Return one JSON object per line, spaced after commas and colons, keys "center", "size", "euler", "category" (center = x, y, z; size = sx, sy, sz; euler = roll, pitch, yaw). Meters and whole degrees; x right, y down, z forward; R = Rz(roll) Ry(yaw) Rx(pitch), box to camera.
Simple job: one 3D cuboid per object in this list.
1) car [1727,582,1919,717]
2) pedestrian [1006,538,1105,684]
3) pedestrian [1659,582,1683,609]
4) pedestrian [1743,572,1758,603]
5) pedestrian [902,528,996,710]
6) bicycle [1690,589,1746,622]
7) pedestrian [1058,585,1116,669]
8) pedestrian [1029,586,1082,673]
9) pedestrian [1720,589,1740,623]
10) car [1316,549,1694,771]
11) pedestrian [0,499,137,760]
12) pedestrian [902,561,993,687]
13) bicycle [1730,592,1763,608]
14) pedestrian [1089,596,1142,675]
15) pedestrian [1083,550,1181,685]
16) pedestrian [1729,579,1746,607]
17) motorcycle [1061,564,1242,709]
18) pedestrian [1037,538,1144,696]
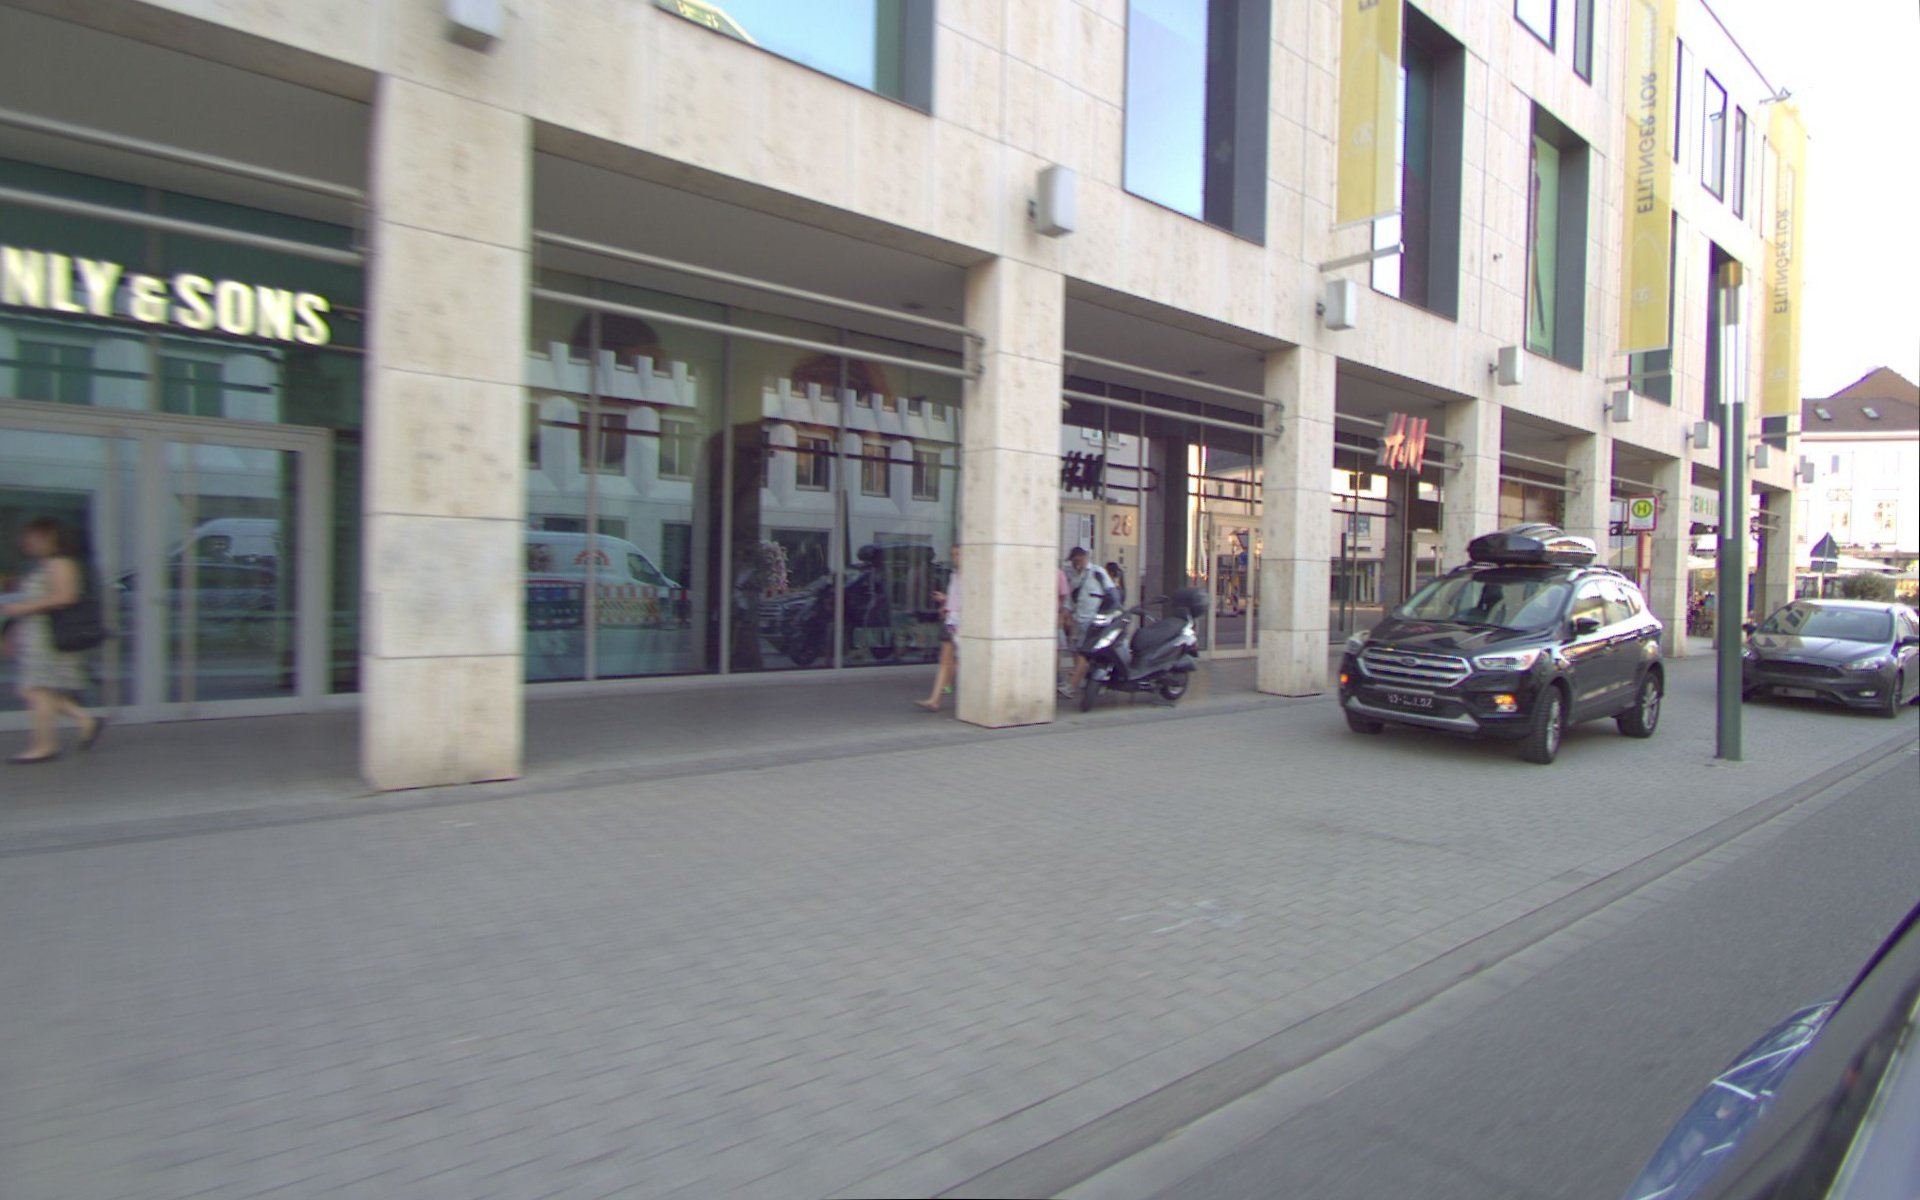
{"center": [12.557, 0.570, 14.248], "size": [4.118, 1.508, 1.800], "euler": [-1, 5, -39], "category": "car"}
{"center": [1.171, 0.122, 12.371], "size": [0.861, 1.702, 0.766], "euler": [2, 0, -40], "category": "pedestrian"}
{"center": [38.508, -0.260, 54.813], "size": [0.679, 1.465, 0.725], "euler": [1, 1, -15], "category": "pedestrian"}
{"center": [47.536, -0.743, 60.861], "size": [0.705, 1.841, 0.509], "euler": [0, 1, -38], "category": "pedestrian"}
{"center": [-0.109, 0.165, 9.998], "size": [0.684, 1.719, 0.591], "euler": [0, 1, -42], "category": "pedestrian"}
{"center": [28.629, 0.219, 38.210], "size": [1.866, 1.142, 0.609], "euler": [3, 1, -14], "category": "bicycle"}
{"center": [1.736, 0.365, 13.817], "size": [0.591, 1.111, 0.488], "euler": [2, 0, -40], "category": "pedestrian"}
{"center": [1.255, 0.379, 13.301], "size": [0.516, 1.111, 0.420], "euler": [2, 0, -40], "category": "pedestrian"}
{"center": [45.984, 0.358, 60.418], "size": [0.615, 1.952, 0.647], "euler": [1, 1, -15], "category": "pedestrian"}
{"center": [5.408, 0.424, 9.864], "size": [3.985, 1.657, 1.773], "euler": [-1, 5, -39], "category": "car"}
{"center": [-5.851, 0.176, 6.552], "size": [0.761, 1.587, 0.635], "euler": [2, 0, -40], "category": "pedestrian"}
{"center": [-0.146, 0.257, 11.472], "size": [0.761, 1.362, 0.635], "euler": [2, 0, -40], "category": "pedestrian"}
{"center": [47.446, -0.013, 61.062], "size": [1.644, 0.945, 0.474], "euler": [1, 1, -2], "category": "bicycle"}
{"center": [2.050, 0.456, 13.310], "size": [0.516, 0.998, 0.420], "euler": [2, 0, -40], "category": "pedestrian"}
{"center": [2.109, 0.202, 12.415], "size": [0.861, 1.587, 0.766], "euler": [2, 0, -40], "category": "pedestrian"}
{"center": [47.636, -0.447, 62.024], "size": [0.720, 1.697, 0.620], "euler": [0, 1, -38], "category": "pedestrian"}
{"center": [2.100, 0.350, 10.936], "size": [2.096, 1.434, 0.694], "euler": [0, 2, -38], "category": "motorcycle"}
{"center": [1.485, 0.181, 11.526], "size": [0.861, 1.702, 0.766], "euler": [2, 0, -40], "category": "pedestrian"}
